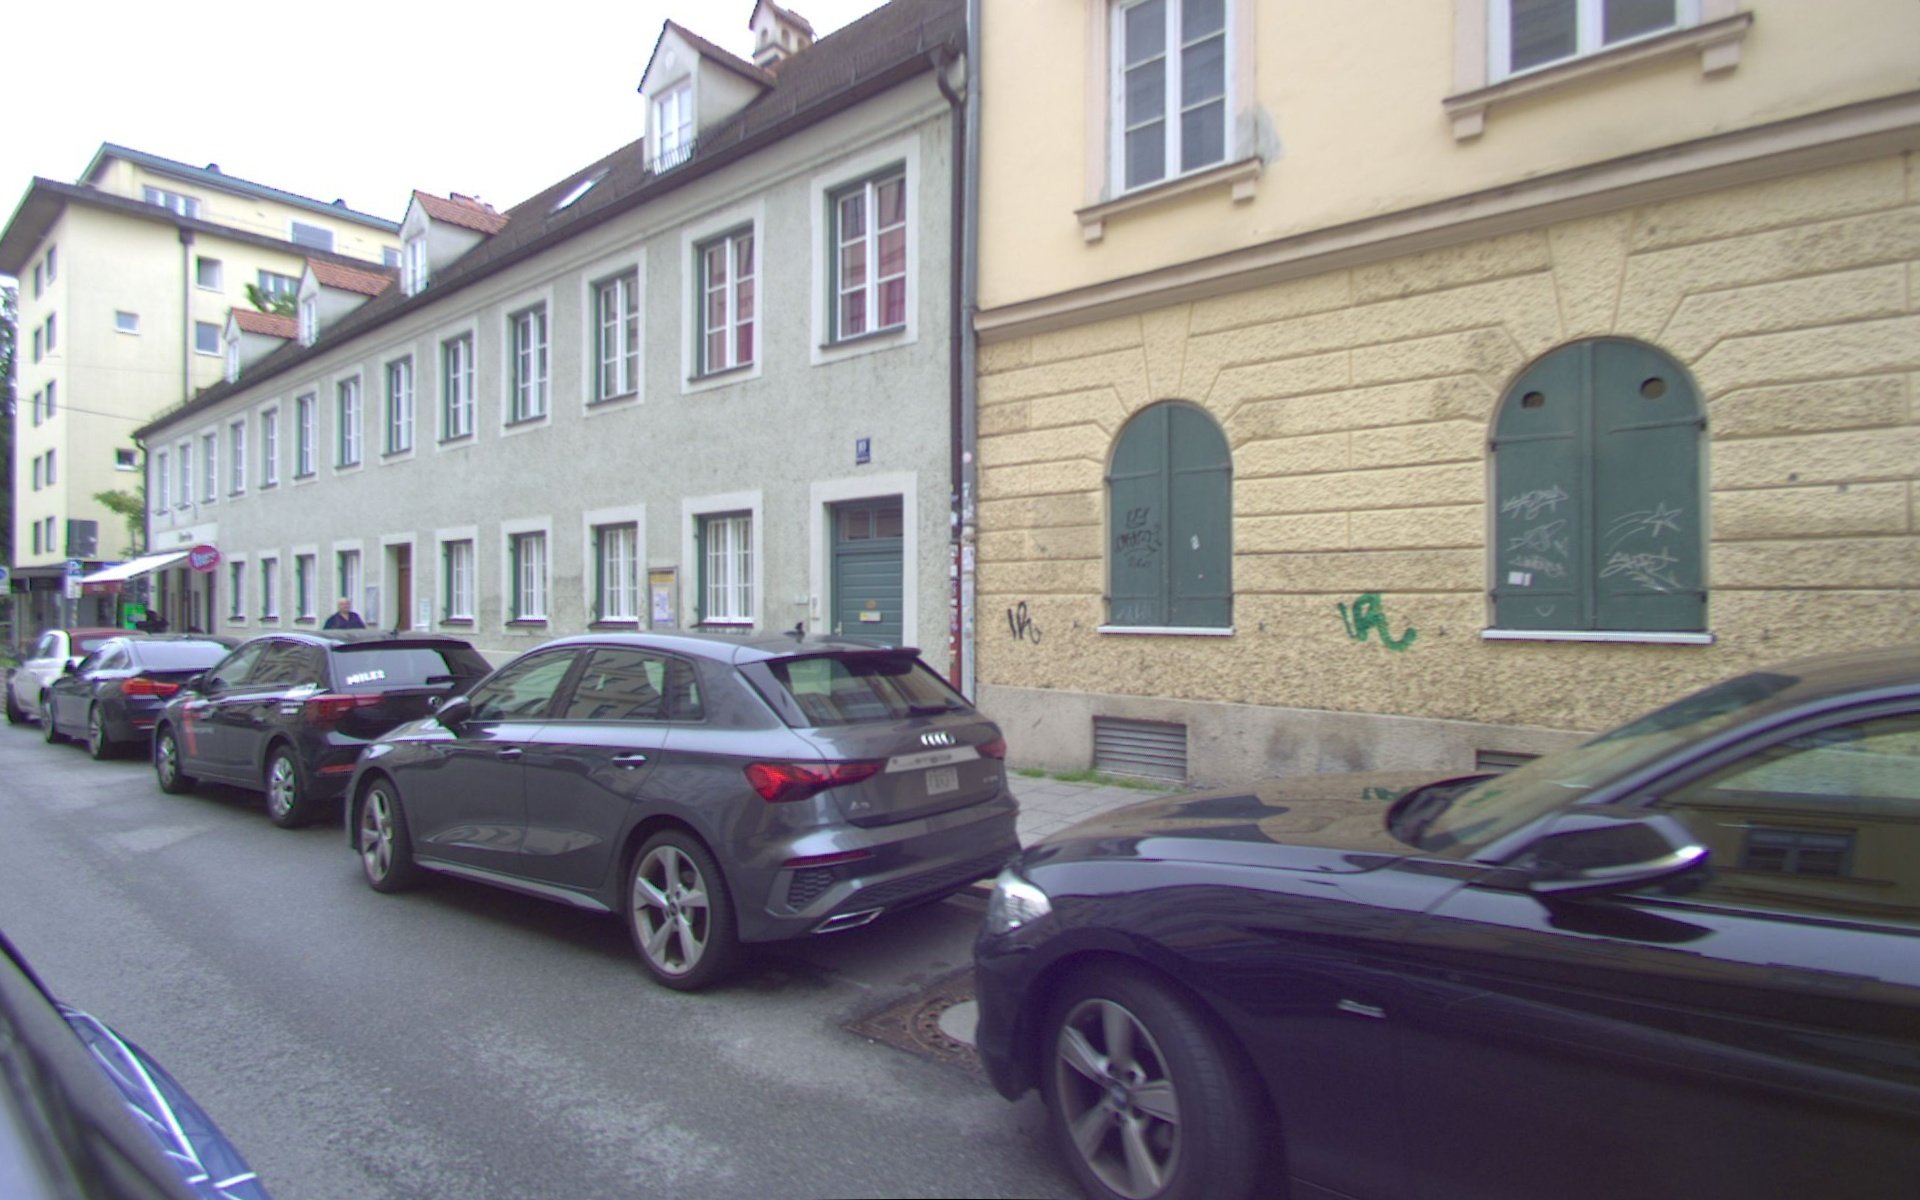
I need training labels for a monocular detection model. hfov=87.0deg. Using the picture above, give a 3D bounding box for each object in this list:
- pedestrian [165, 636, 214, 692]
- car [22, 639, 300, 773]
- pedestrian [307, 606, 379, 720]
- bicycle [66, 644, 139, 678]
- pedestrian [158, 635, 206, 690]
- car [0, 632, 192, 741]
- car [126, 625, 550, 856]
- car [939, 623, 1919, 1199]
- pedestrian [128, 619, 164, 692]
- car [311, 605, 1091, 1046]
[{"bbox_3d":[-18.511,1.530,24.316,0.693,1.300,0.795,0,-1,40],"label":"pedestrian"},{"bbox_3d":[-10.068,1.192,12.614,4.681,1.349,1.780,-2,-2,40],"label":"car"},{"bbox_3d":[-10.804,1.078,17.726,0.827,1.912,0.814,0,-1,39],"label":"pedestrian"},{"bbox_3d":[-28.527,2.019,33.699,0.392,1.042,1.798,-3,-1,43],"label":"bicycle"},{"bbox_3d":[-19.057,1.527,24.792,0.693,1.300,0.795,0,-1,40],"label":"pedestrian"},{"bbox_3d":[-13.867,1.283,16.100,3.708,1.486,1.738,-2,-1,38],"label":"car"},{"bbox_3d":[-5.439,0.979,8.646,4.194,1.507,1.738,-1,-2,38],"label":"car"},{"bbox_3d":[2.074,0.761,1.993,4.099,1.419,1.737,-1,-2,39],"label":"car"},{"bbox_3d":[-20.556,1.387,25.556,0.877,1.795,0.523,0,-2,41],"label":"pedestrian"},{"bbox_3d":[-1.555,0.832,5.335,4.124,1.453,1.799,-2,-3,37],"label":"car"}]
